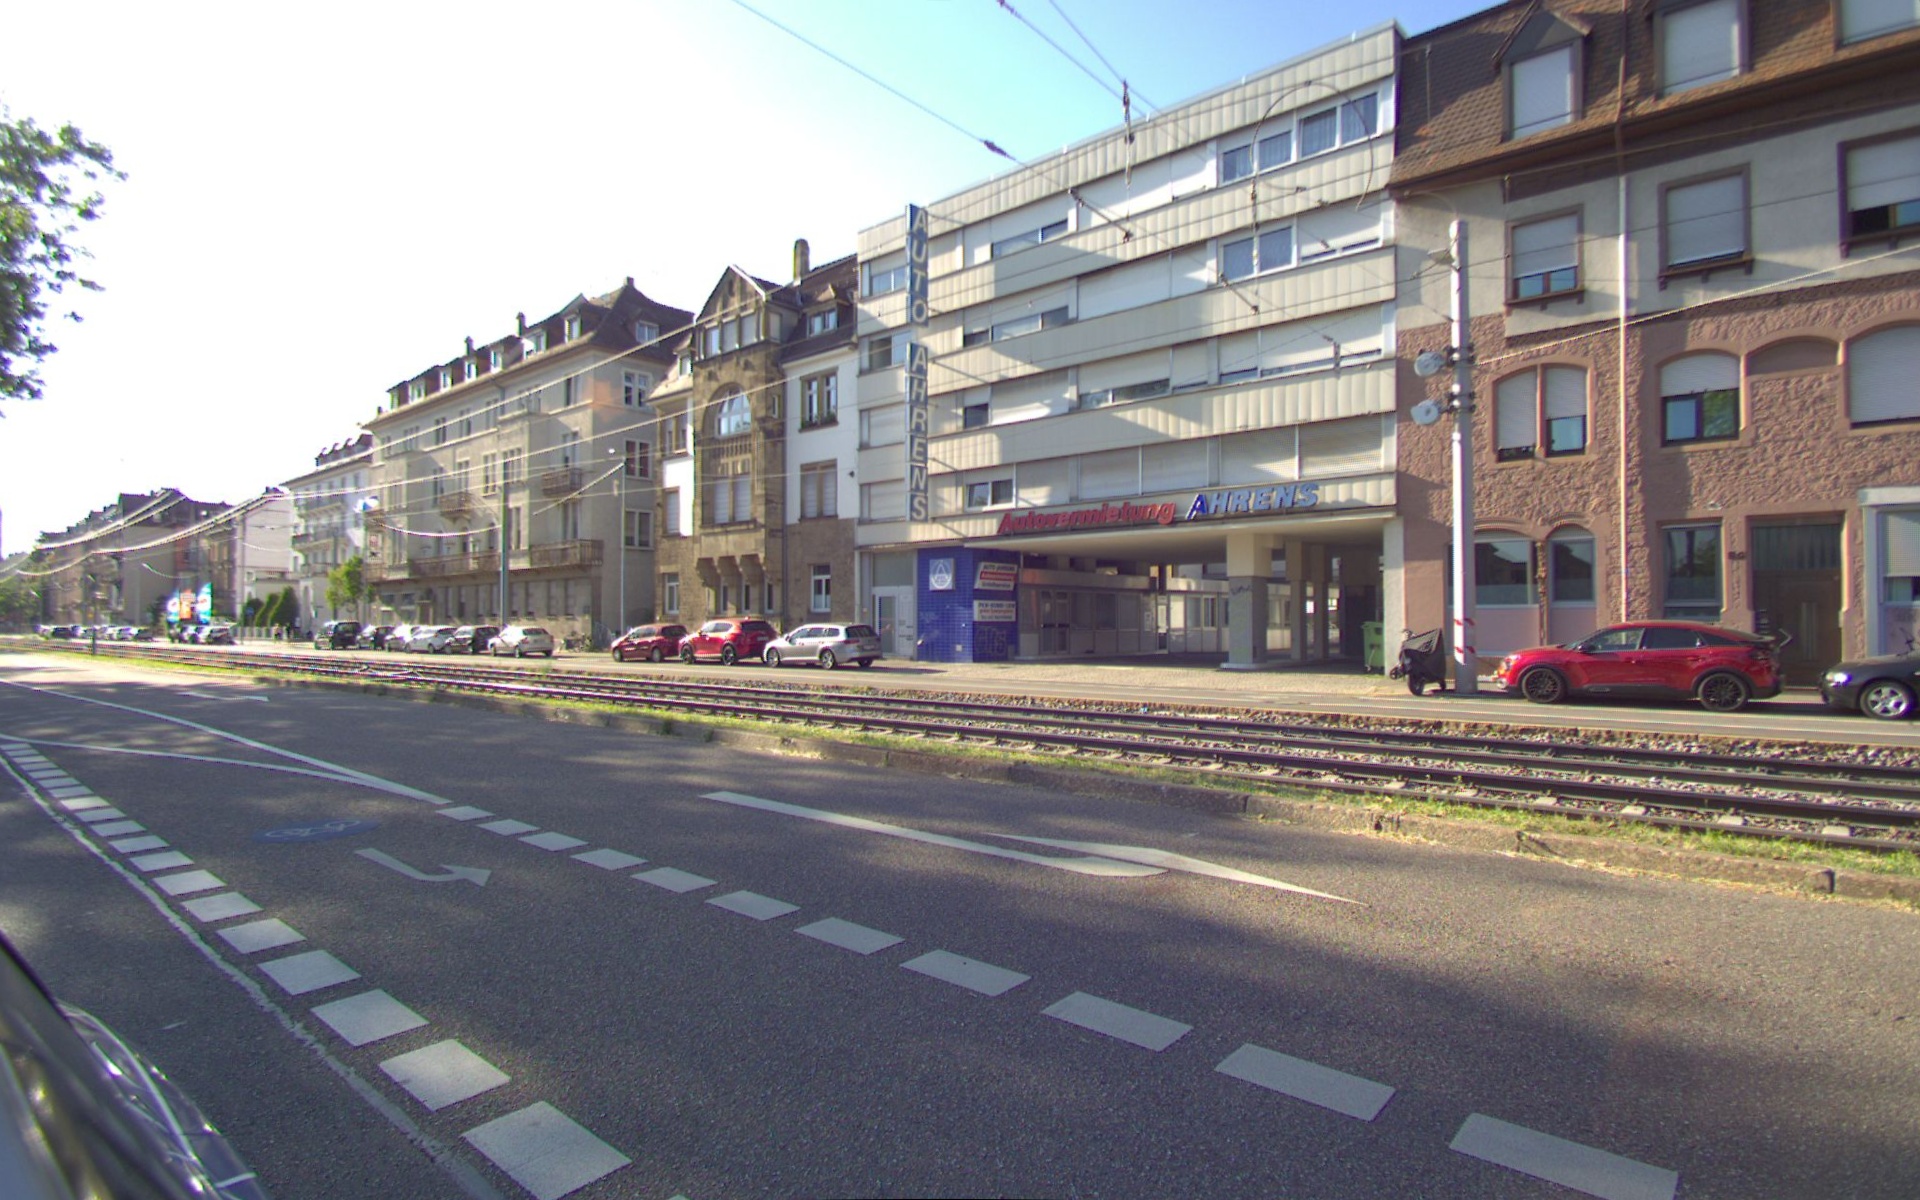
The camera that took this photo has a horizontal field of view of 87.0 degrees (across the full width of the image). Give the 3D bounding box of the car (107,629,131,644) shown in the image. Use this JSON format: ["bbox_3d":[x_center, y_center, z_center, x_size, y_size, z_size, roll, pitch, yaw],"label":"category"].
[{"bbox_3d":[-94.223,4.108,113.409,3.449,1.602,1.603,-1,-1,42],"label":"car"}]

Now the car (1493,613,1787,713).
[{"bbox_3d":[12.230,1.073,18.343,4.208,1.510,1.837,-2,1,41],"label":"car"}]

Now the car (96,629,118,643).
[{"bbox_3d":[-102.511,4.294,121.604,3.449,1.602,1.603,-1,-1,42],"label":"car"}]

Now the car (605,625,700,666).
[{"bbox_3d":[-12.349,1.813,40.534,3.722,1.507,1.736,-2,0,36],"label":"car"}]

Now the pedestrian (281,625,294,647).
[{"bbox_3d":[-55.422,2.976,83.448,0.677,1.803,0.716,-2,-3,41],"label":"pedestrian"}]

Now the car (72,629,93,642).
[{"bbox_3d":[-116.143,4.727,133.936,3.449,1.602,1.603,-1,-1,42],"label":"car"}]

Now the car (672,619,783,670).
[{"bbox_3d":[-8.554,1.600,37.046,4.262,1.700,1.836,-2,0,43],"label":"car"}]

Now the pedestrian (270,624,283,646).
[{"bbox_3d":[-55.968,2.893,82.880,0.677,1.803,0.716,-2,-3,41],"label":"pedestrian"}]

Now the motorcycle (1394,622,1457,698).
[{"bbox_3d":[9.598,1.200,20.833,0.628,1.433,1.835,-3,-1,42],"label":"motorcycle"}]

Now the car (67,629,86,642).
[{"bbox_3d":[-119.746,4.817,137.172,3.449,1.602,1.603,-1,-1,42],"label":"car"}]

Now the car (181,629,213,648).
[{"bbox_3d":[-67.931,3.434,90.046,3.387,1.583,1.662,-1,-1,42],"label":"car"}]

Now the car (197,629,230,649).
[{"bbox_3d":[-64.138,3.333,86.933,3.387,1.583,1.662,-1,-1,42],"label":"car"}]

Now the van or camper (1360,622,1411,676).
[{"bbox_3d":[10.964,1.248,26.066,0.803,1.368,1.409,-2,-2,41],"label":"van or camper"}]

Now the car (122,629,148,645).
[{"bbox_3d":[-87.276,3.933,107.101,3.449,1.602,1.603,-1,-1,42],"label":"car"}]

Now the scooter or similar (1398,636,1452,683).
[{"bbox_3d":[10.891,1.384,23.738,1.121,1.077,0.202,-2,-1,42],"label":"scooter or similar"}]

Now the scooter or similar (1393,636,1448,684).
[{"bbox_3d":[10.702,1.387,23.529,1.121,1.077,0.202,-2,-1,42],"label":"scooter or similar"}]

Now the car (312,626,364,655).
[{"bbox_3d":[-40.354,2.610,65.652,3.914,1.750,1.851,-2,-1,42],"label":"car"}]

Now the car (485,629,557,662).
[{"bbox_3d":[-21.061,2.164,48.491,3.822,1.490,1.778,-2,-1,42],"label":"car"}]

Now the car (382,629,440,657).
[{"bbox_3d":[-31.645,2.449,58.298,3.822,1.490,1.778,-2,-1,42],"label":"car"}]

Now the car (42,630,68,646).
[{"bbox_3d":[-101.481,4.242,113.479,3.999,1.697,1.798,-2,-2,42],"label":"car"}]

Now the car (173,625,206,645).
[{"bbox_3d":[-71.660,3.256,94.089,3.879,1.800,1.705,-1,-1,42],"label":"car"}]

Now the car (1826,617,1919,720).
[{"bbox_3d":[15.492,1.013,15.037,3.926,1.448,1.678,-2,1,41],"label":"car"}]

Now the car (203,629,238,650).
[{"bbox_3d":[-60.485,3.183,82.715,3.407,1.644,1.655,-2,-1,42],"label":"car"}]

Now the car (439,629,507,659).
[{"bbox_3d":[-25.064,2.244,52.050,3.820,1.441,1.779,-2,-1,40],"label":"car"}]

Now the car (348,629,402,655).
[{"bbox_3d":[-36.059,2.549,62.365,3.822,1.490,1.778,-2,-1,42],"label":"car"}]

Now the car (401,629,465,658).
[{"bbox_3d":[-28.391,2.323,54.500,3.531,1.457,1.624,-2,-1,35],"label":"car"}]

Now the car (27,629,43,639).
[{"bbox_3d":[-153.102,5.553,167.572,3.449,1.602,1.603,-1,-1,42],"label":"car"}]

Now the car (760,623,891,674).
[{"bbox_3d":[-4.482,1.579,33.432,4.379,1.510,1.837,-2,0,41],"label":"car"}]
